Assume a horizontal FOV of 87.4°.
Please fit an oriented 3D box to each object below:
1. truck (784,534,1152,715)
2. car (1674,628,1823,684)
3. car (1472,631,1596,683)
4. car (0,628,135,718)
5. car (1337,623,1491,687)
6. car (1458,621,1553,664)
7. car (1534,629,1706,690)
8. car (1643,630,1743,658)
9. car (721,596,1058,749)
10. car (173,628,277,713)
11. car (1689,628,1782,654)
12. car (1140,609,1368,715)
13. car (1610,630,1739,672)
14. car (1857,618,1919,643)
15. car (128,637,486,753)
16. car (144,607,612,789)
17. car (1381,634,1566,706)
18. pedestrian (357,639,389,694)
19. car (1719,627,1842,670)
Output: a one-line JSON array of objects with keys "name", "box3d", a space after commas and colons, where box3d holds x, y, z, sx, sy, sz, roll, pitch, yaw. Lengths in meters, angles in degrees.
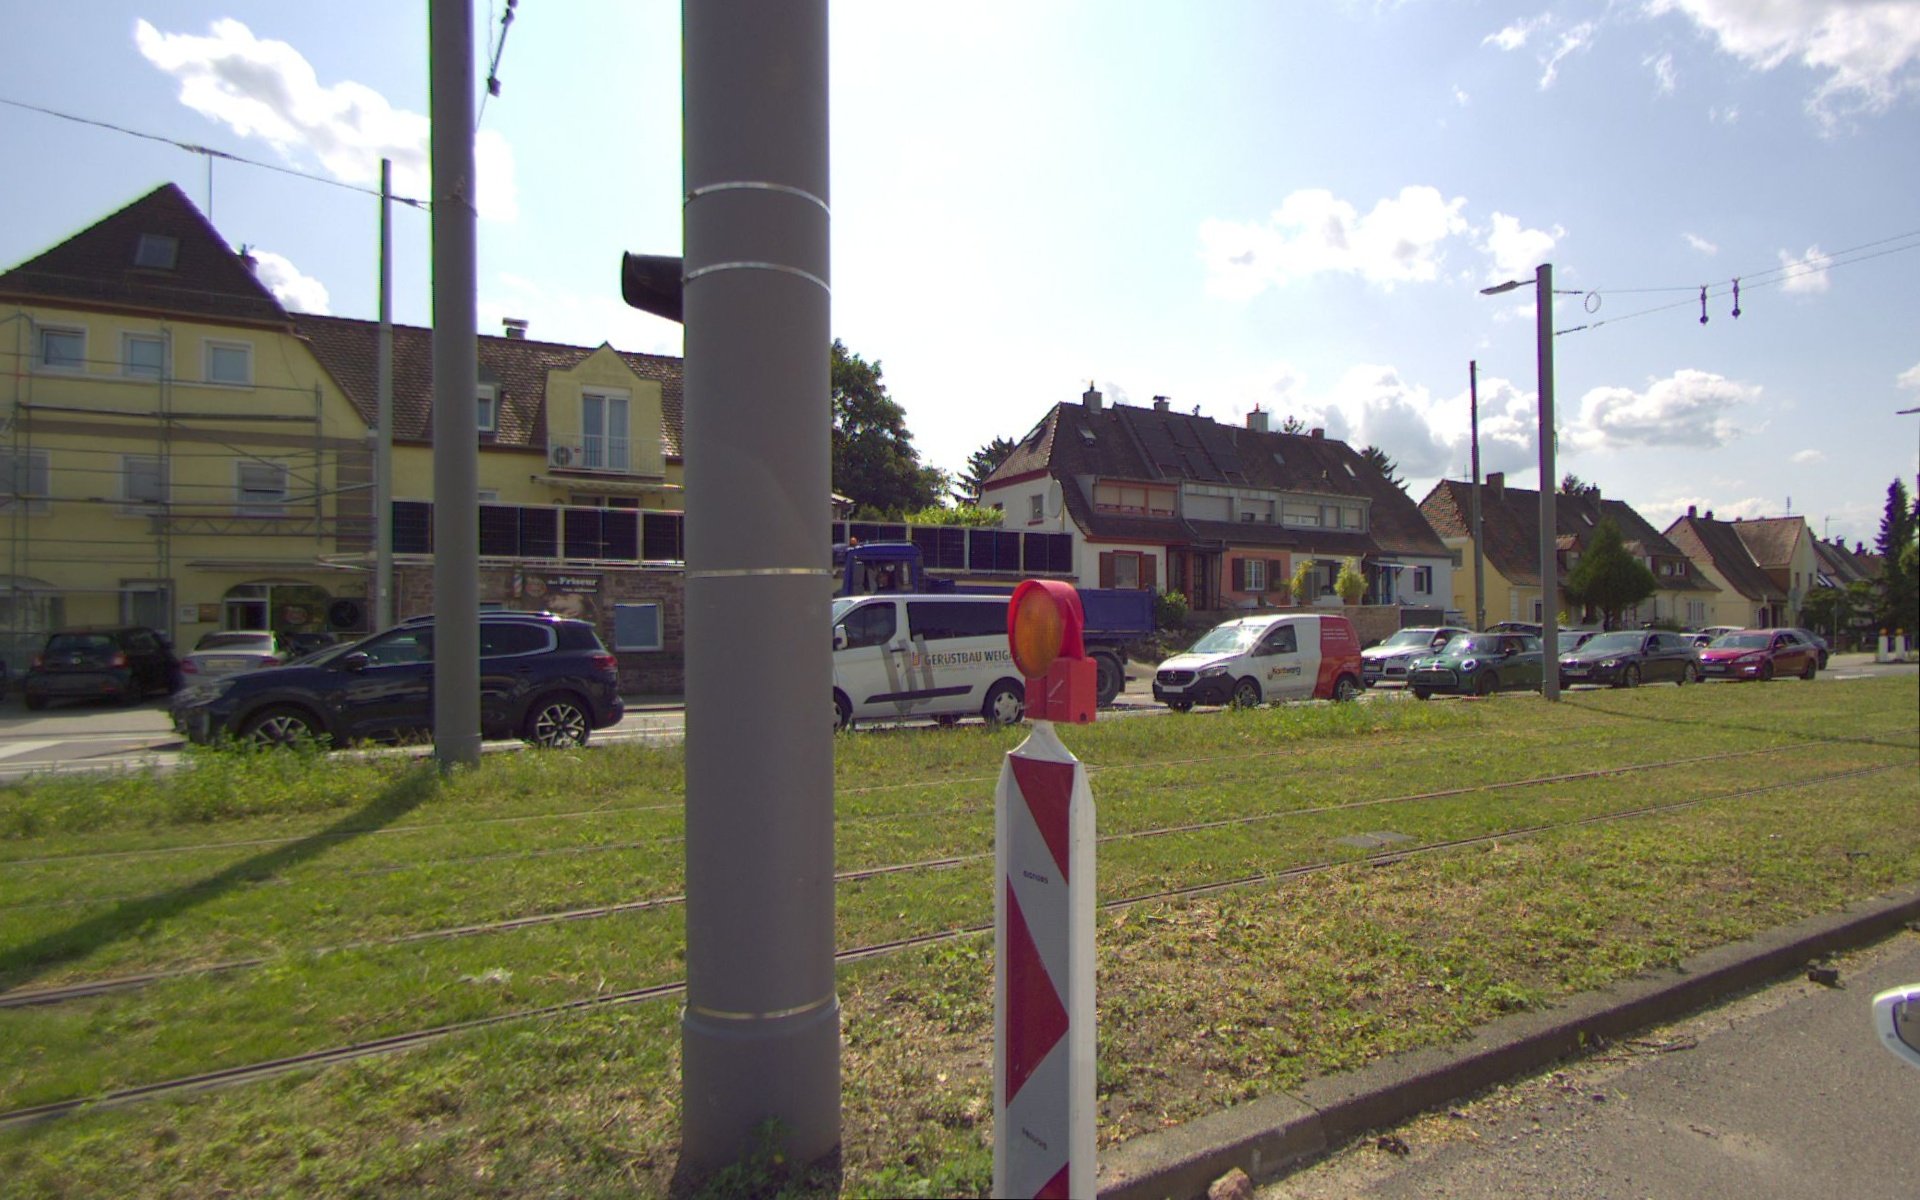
[{"name": "truck", "box3d": [0.319, 0.532, 21.120, 7.499, 3.230, 2.753, 1, -2, -32]}, {"name": "car", "box3d": [23.011, 1.584, 29.275, 4.801, 1.513, 1.834, 1, -2, -31]}, {"name": "car", "box3d": [17.927, 1.734, 31.371, 3.613, 1.513, 1.834, 1, -2, -31]}, {"name": "car", "box3d": [-17.886, 1.371, 20.142, 1.490, 1.513, 4.113, 0, 0, -31]}, {"name": "car", "box3d": [12.956, 1.521, 28.594, 4.456, 1.691, 1.833, 1, -2, -32]}, {"name": "car", "box3d": [24.651, 1.869, 45.462, 1.587, 1.616, 3.365, 1, 3, -32]}, {"name": "car", "box3d": [17.009, 1.472, 25.821, 4.862, 1.432, 1.833, 1, -2, -32]}, {"name": "car", "box3d": [40.743, 2.402, 55.915, 1.968, 1.486, 4.088, 1, -2, -30]}, {"name": "car", "box3d": [-0.965, 0.978, 14.820, 4.696, 1.947, 1.804, 1, -2, -33]}, {"name": "car", "box3d": [-15.469, 1.406, 21.291, 1.419, 1.513, 4.113, 0, 0, -31]}, {"name": "car", "box3d": [45.231, 2.365, 58.639, 1.685, 1.416, 3.967, 0, -1, -31]}, {"name": "car", "box3d": [5.642, 1.116, 19.109, 4.357, 1.805, 1.723, 1, -2, -33]}, {"name": "car", "box3d": [24.951, 1.744, 35.050, 4.720, 1.361, 1.835, 1, -2, -30]}, {"name": "car", "box3d": [69.638, 2.266, 74.595, 2.079, 1.800, 4.083, 1, -2, -34]}, {"name": "car", "box3d": [-9.557, 1.324, 15.133, 4.282, 1.506, 1.820, 1, -2, -30]}, {"name": "car", "box3d": [-6.502, 0.991, 11.679, 4.389, 1.743, 1.778, 0, -2, -31]}, {"name": "car", "box3d": [11.423, 1.494, 22.286, 3.956, 1.437, 1.905, 1, -2, -32]}, {"name": "pedestrian", "box3d": [-13.820, 1.551, 23.650, 0.570, 1.236, 0.602, 0, 0, -40]}, {"name": "car", "box3d": [31.323, 1.807, 38.322, 4.675, 1.555, 1.838, 1, -2, -26]}]
